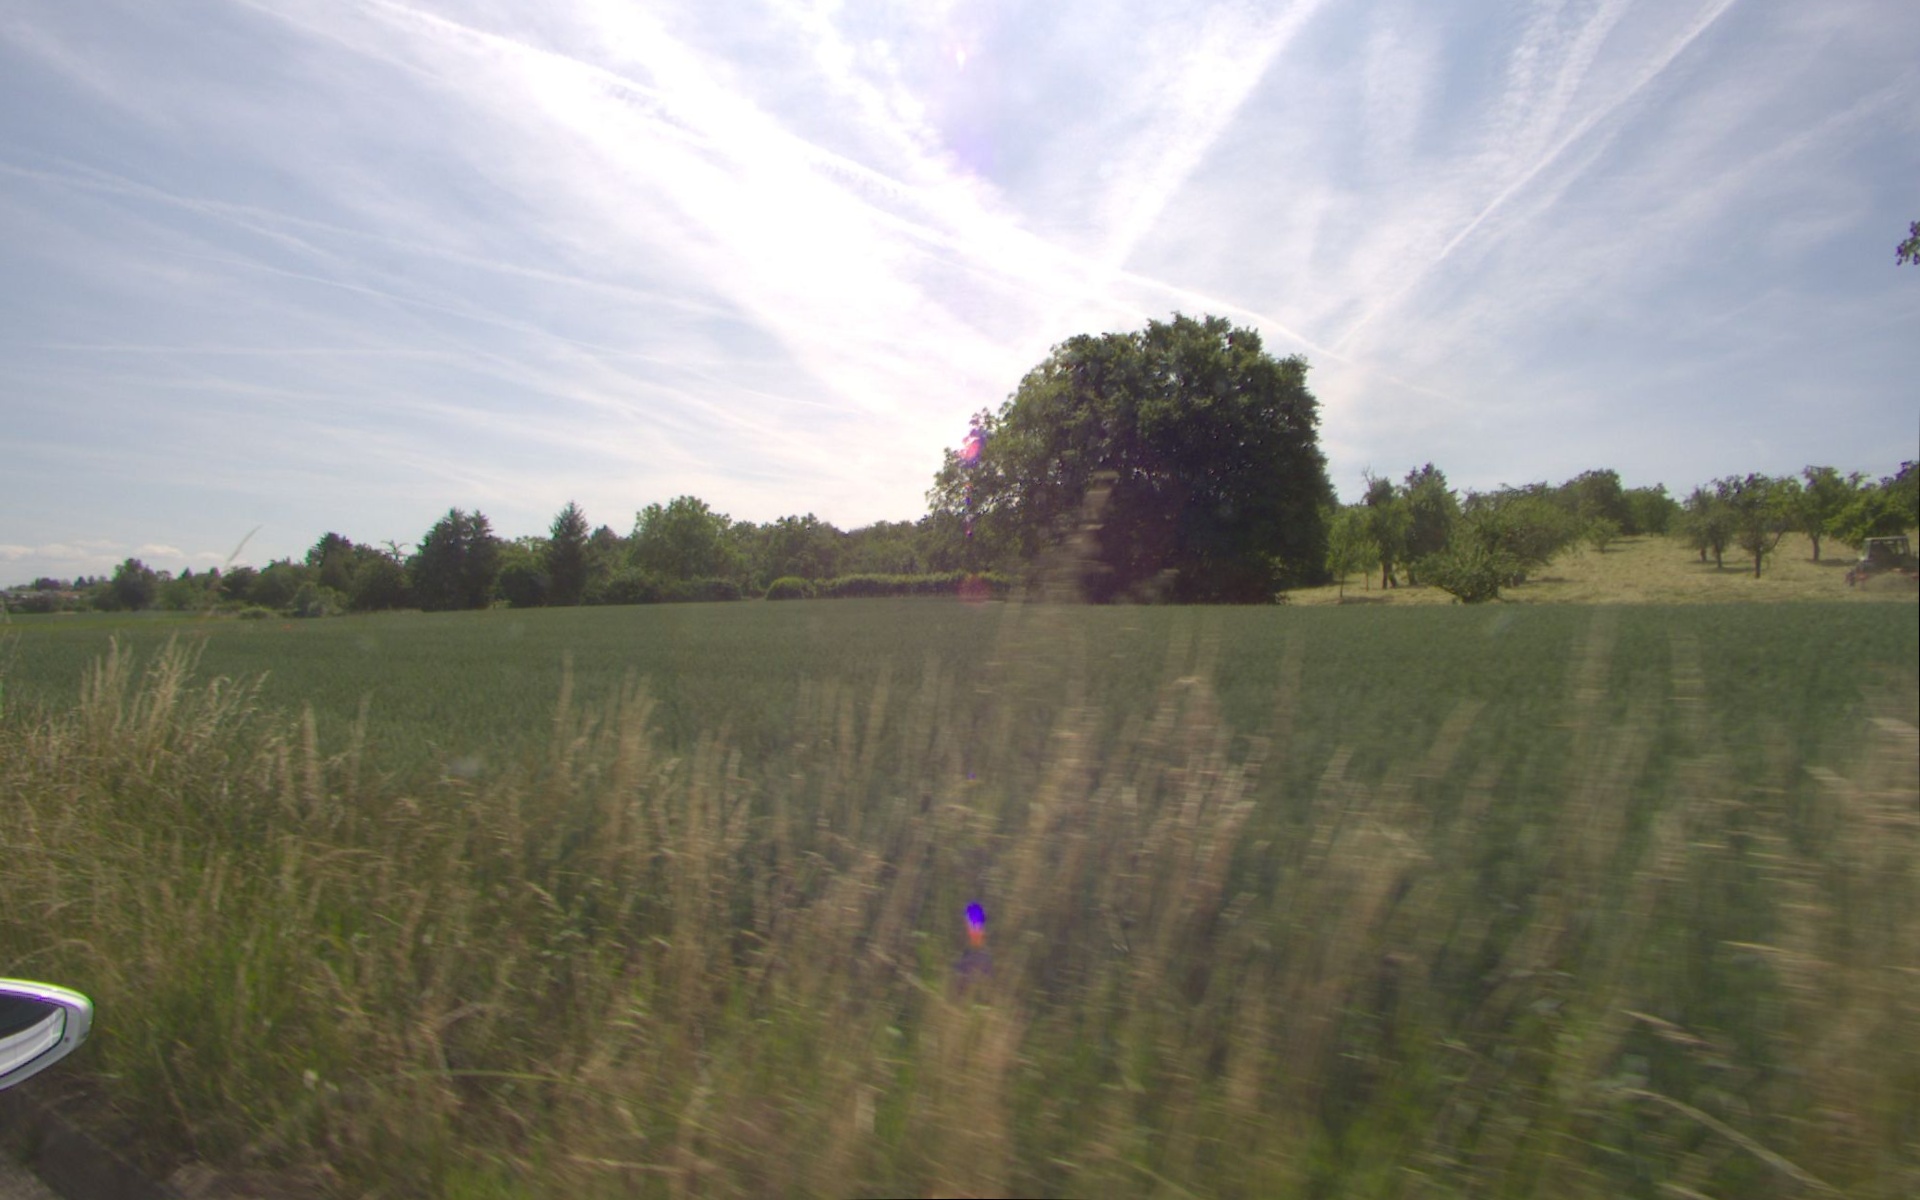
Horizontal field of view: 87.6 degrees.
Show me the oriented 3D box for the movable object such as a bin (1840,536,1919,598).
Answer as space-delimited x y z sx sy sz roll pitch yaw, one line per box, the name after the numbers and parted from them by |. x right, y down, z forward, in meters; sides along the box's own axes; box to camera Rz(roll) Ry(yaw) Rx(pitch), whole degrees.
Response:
39.120 -1.457 42.089 2.412 2.402 6.533 -1 2 34 | movable object such as a bin
